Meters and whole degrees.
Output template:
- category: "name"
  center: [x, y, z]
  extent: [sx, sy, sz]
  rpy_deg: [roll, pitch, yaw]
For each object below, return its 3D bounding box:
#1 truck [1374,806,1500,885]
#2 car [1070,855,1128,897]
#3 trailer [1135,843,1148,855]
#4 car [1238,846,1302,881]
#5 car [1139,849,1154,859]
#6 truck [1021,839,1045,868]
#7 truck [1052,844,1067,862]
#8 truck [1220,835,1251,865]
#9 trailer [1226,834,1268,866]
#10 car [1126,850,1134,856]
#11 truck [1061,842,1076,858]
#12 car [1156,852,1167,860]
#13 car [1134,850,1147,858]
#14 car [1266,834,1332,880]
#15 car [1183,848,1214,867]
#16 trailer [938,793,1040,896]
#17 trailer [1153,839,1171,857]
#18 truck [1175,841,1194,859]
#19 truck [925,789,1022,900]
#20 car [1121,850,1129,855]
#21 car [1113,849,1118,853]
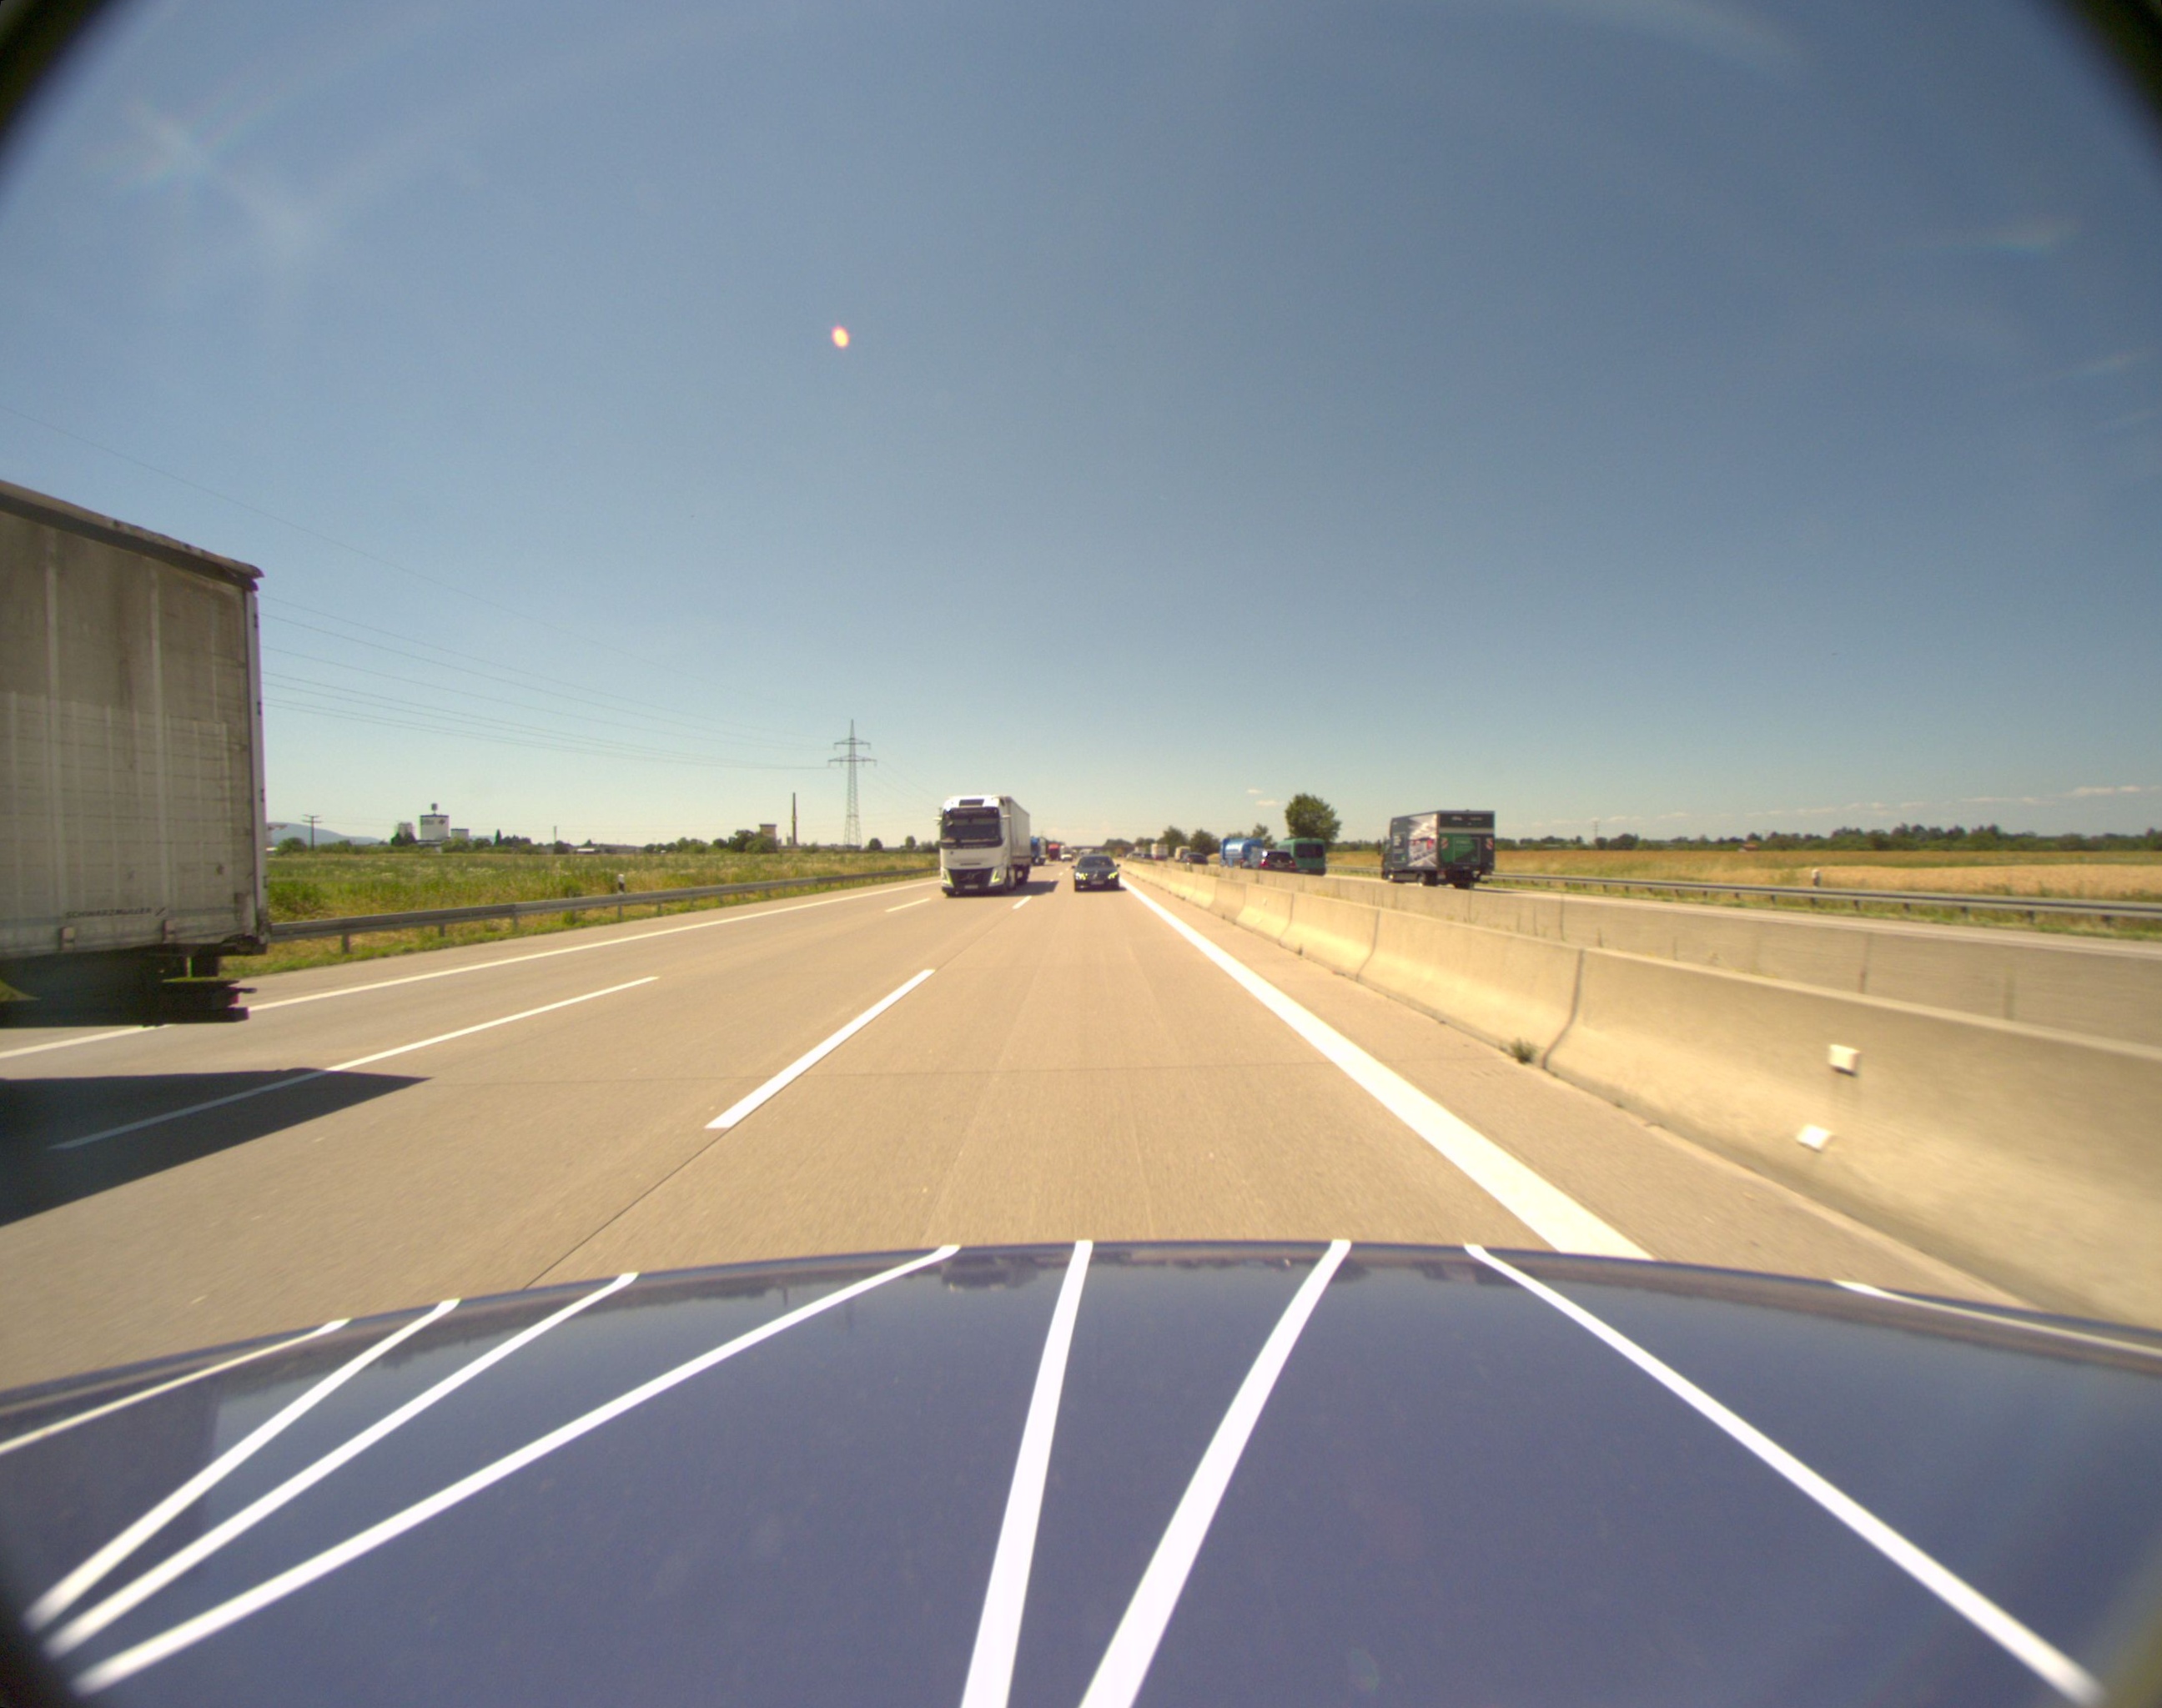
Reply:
- category: "truck"
  center: [17.336, -0.395, 37.695]
  extent: [2.561, 3.492, 7.884]
  rpy_deg: [0, 0, 0]
- category: "car"
  center: [0.730, 0.772, 29.542]
  extent: [1.998, 1.462, 6.348]
  rpy_deg: [0, 0, 2]
- category: "trailer"
  center: [19.762, -1.489, 248.807]
  extent: [2.777, 3.780, 13.827]
  rpy_deg: [-2, 0, 0]
- category: "car"
  center: [9.378, 0.444, 38.166]
  extent: [1.998, 1.567, 4.848]
  rpy_deg: [-2, 0, 1]
- category: "car"
  center: [9.916, -0.042, 114.640]
  extent: [1.784, 1.340, 4.452]
  rpy_deg: [-3, 0, -1]
- category: "truck"
  center: [-6.791, -0.083, 108.304]
  extent: [2.757, 4.020, 5.466]
  rpy_deg: [-2, 0, 1]
- category: "truck"
  center: [-5.263, -0.313, 188.115]
  extent: [2.855, 4.297, 10.886]
  rpy_deg: [-2, 0, 1]
- category: "truck"
  center: [17.934, -0.420, 88.474]
  extent: [2.490, 3.290, 5.263]
  rpy_deg: [-2, 0, 0]
- category: "trailer"
  center: [17.936, -0.406, 82.677]
  extent: [2.521, 3.253, 9.252]
  rpy_deg: [-2, 0, 0]
- category: "car"
  center: [15.083, -0.295, 234.133]
  extent: [1.999, 1.574, 4.370]
  rpy_deg: [9, -1, 0]
- category: "truck"
  center: [-2.650, -0.805, 160.359]
  extent: [2.784, 3.328, 7.812]
  rpy_deg: [-2, 0, 0]
- category: "car"
  center: [14.877, 0.314, 140.385]
  extent: [1.692, 1.451, 4.487]
  rpy_deg: [1, 0, 0]
- category: "car"
  center: [11.930, -0.001, 153.414]
  extent: [2.144, 1.669, 5.644]
  rpy_deg: [-1, 0, 0]
- category: "car"
  center: [13.092, 0.165, 46.147]
  extent: [2.154, 2.536, 6.463]
  rpy_deg: [2, 0, 0]
- category: "car"
  center: [10.272, 0.261, 66.668]
  extent: [1.945, 1.549, 4.888]
  rpy_deg: [-2, 0, 0]
- category: "trailer"
  center: [-4.123, -0.412, 37.889]
  extent: [3.025, 4.037, 14.206]
  rpy_deg: [-2, 0, 1]
- category: "trailer"
  center: [18.839, -1.334, 177.372]
  extent: [2.916, 3.886, 12.510]
  rpy_deg: [-2, 0, 1]
- category: "truck"
  center: [18.482, -0.787, 135.925]
  extent: [2.328, 3.066, 6.977]
  rpy_deg: [-2, 0, 0]
- category: "truck"
  center: [-4.227, -0.356, 31.154]
  extent: [2.992, 4.039, 5.477]
  rpy_deg: [-2, 0, 1]
- category: "car"
  center: [12.812, -0.515, 221.056]
  extent: [1.903, 1.318, 5.069]
  rpy_deg: [-2, 0, 0]
- category: "car"
  center: [12.084, -1.024, 266.046]
  extent: [1.732, 1.476, 4.117]
  rpy_deg: [-2, 0, 0]
